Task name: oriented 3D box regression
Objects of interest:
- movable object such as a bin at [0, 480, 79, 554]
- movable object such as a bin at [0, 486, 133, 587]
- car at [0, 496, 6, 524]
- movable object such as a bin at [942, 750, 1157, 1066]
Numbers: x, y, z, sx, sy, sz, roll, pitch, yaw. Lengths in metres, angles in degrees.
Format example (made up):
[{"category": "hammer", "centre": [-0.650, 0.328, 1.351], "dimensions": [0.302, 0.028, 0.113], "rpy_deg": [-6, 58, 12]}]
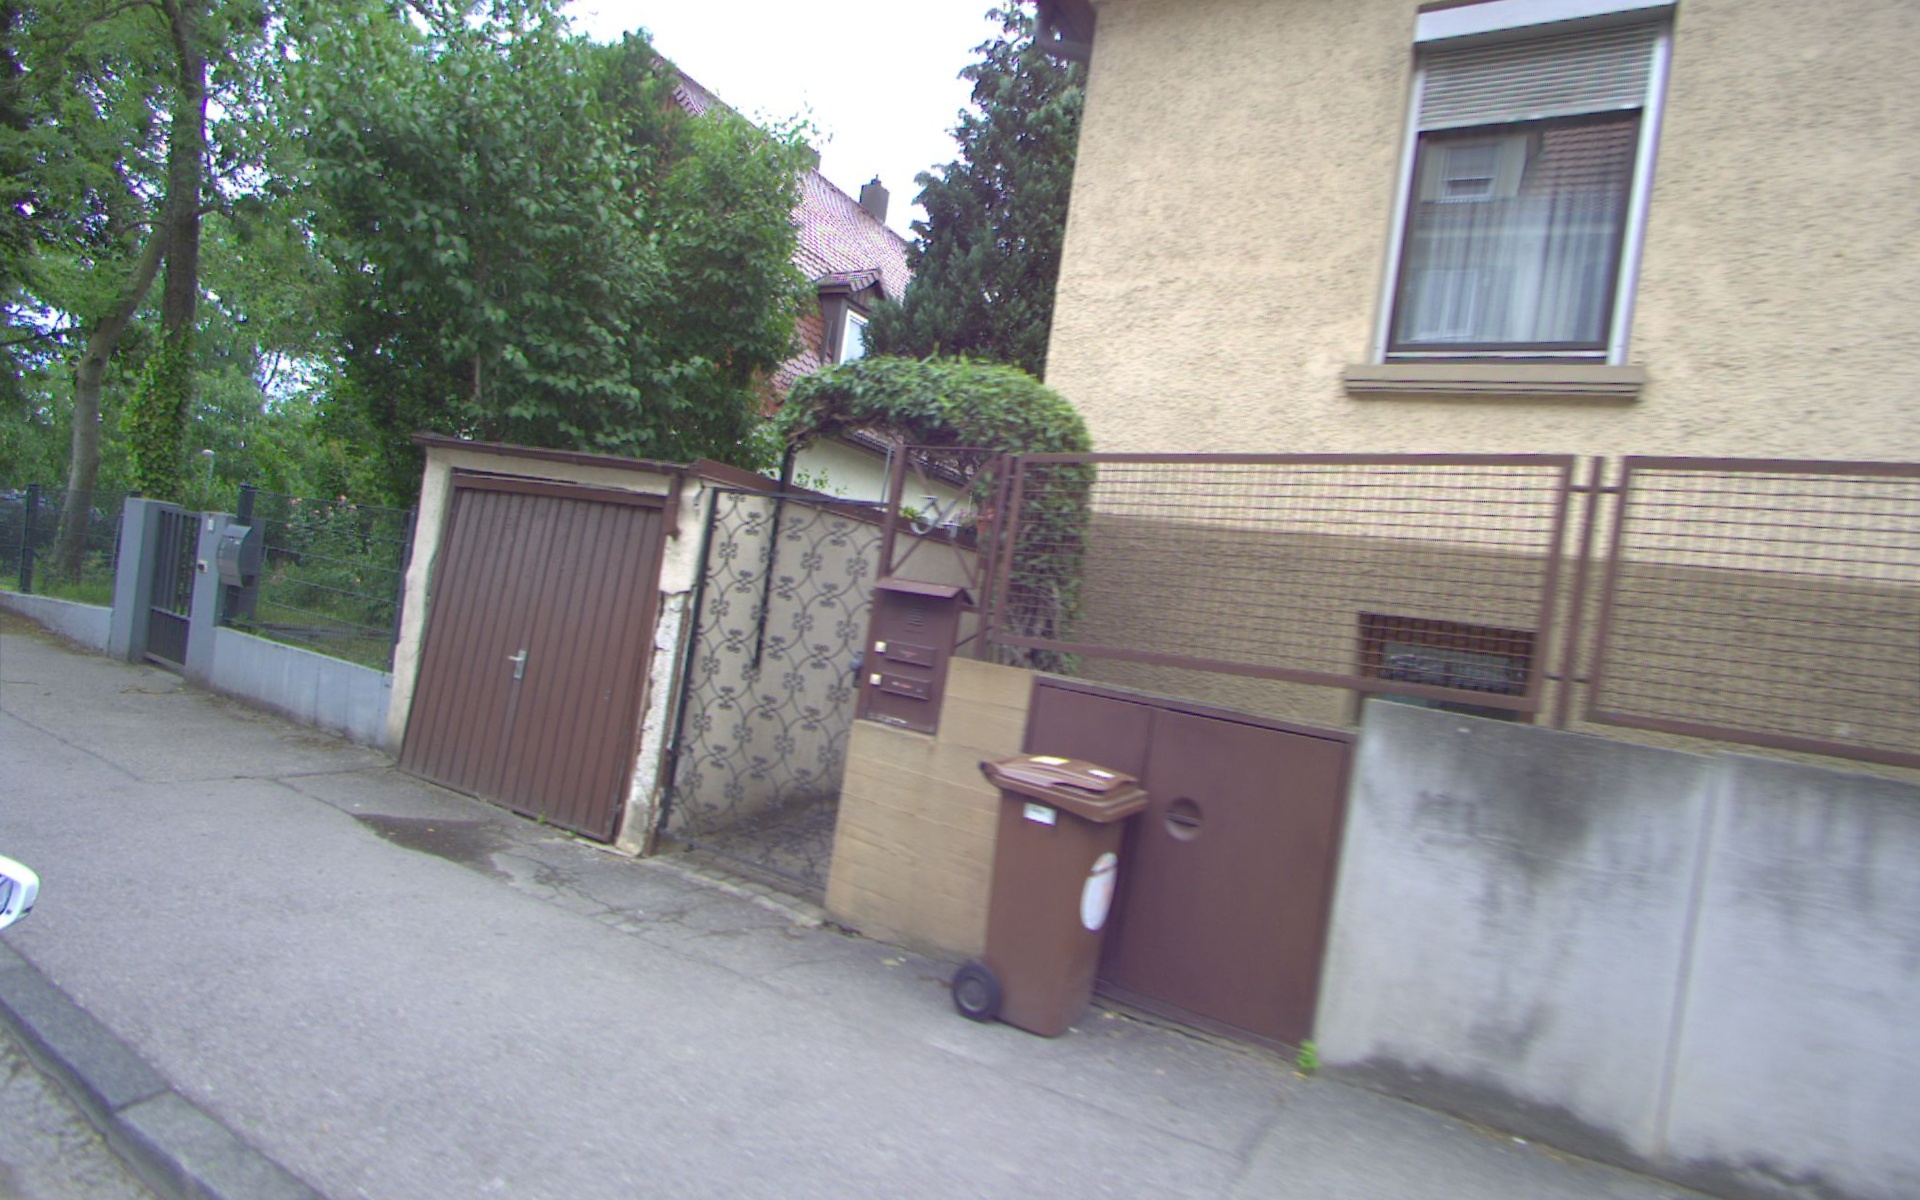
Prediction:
[{"category": "movable object such as a bin", "centre": [-22.826, -2.057, 24.418], "dimensions": [1.644, 1.566, 1.426], "rpy_deg": [8, 0, 20]}, {"category": "movable object such as a bin", "centre": [-19.341, -1.374, 21.154], "dimensions": [2.168, 1.808, 2.110], "rpy_deg": [8, 0, 24]}, {"category": "car", "centre": [-27.263, -2.433, 25.670], "dimensions": [1.797, 1.412, 3.683], "rpy_deg": [7, -6, 15]}, {"category": "movable object such as a bin", "centre": [0.333, 1.088, 3.717], "dimensions": [0.556, 0.936, 0.461], "rpy_deg": [7, 2, 30]}]
